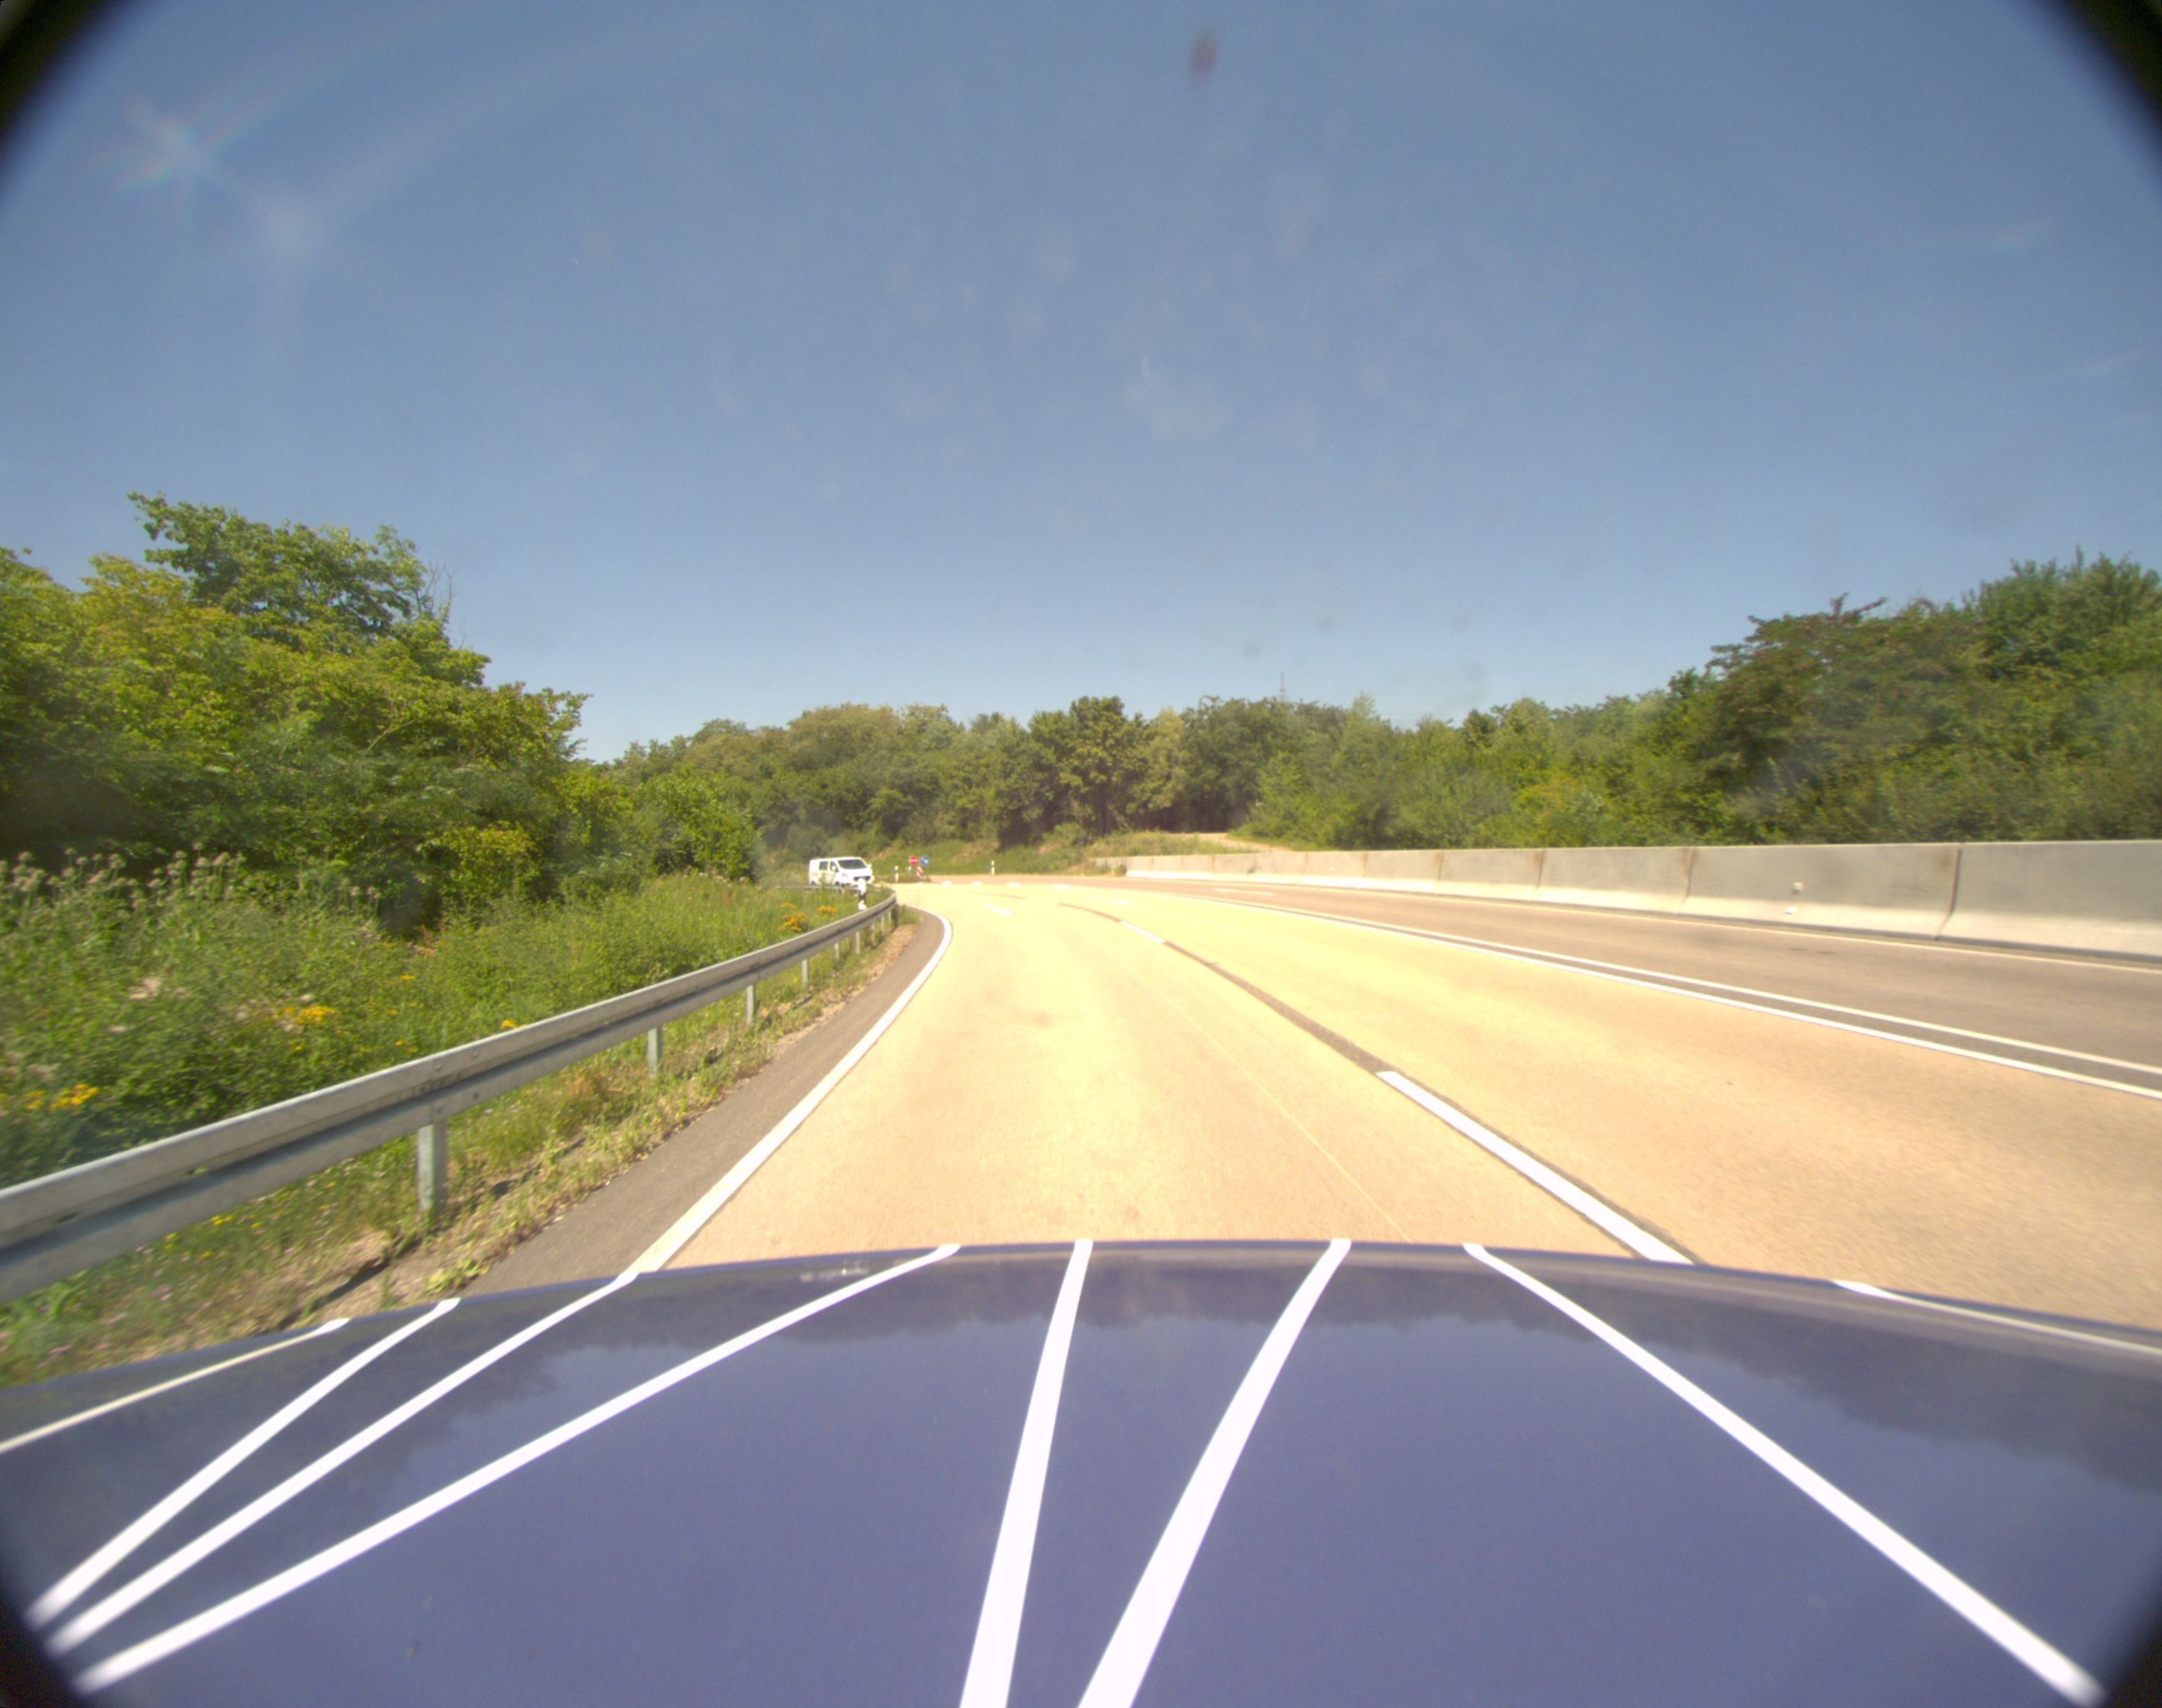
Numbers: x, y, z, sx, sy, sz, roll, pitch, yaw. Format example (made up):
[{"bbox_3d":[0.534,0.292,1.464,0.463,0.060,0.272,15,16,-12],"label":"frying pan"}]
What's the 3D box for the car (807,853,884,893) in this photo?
[{"bbox_3d":[-13.304,1.061,42.743,2.067,2.002,5.027,-4,1,-42],"label":"car"}]
